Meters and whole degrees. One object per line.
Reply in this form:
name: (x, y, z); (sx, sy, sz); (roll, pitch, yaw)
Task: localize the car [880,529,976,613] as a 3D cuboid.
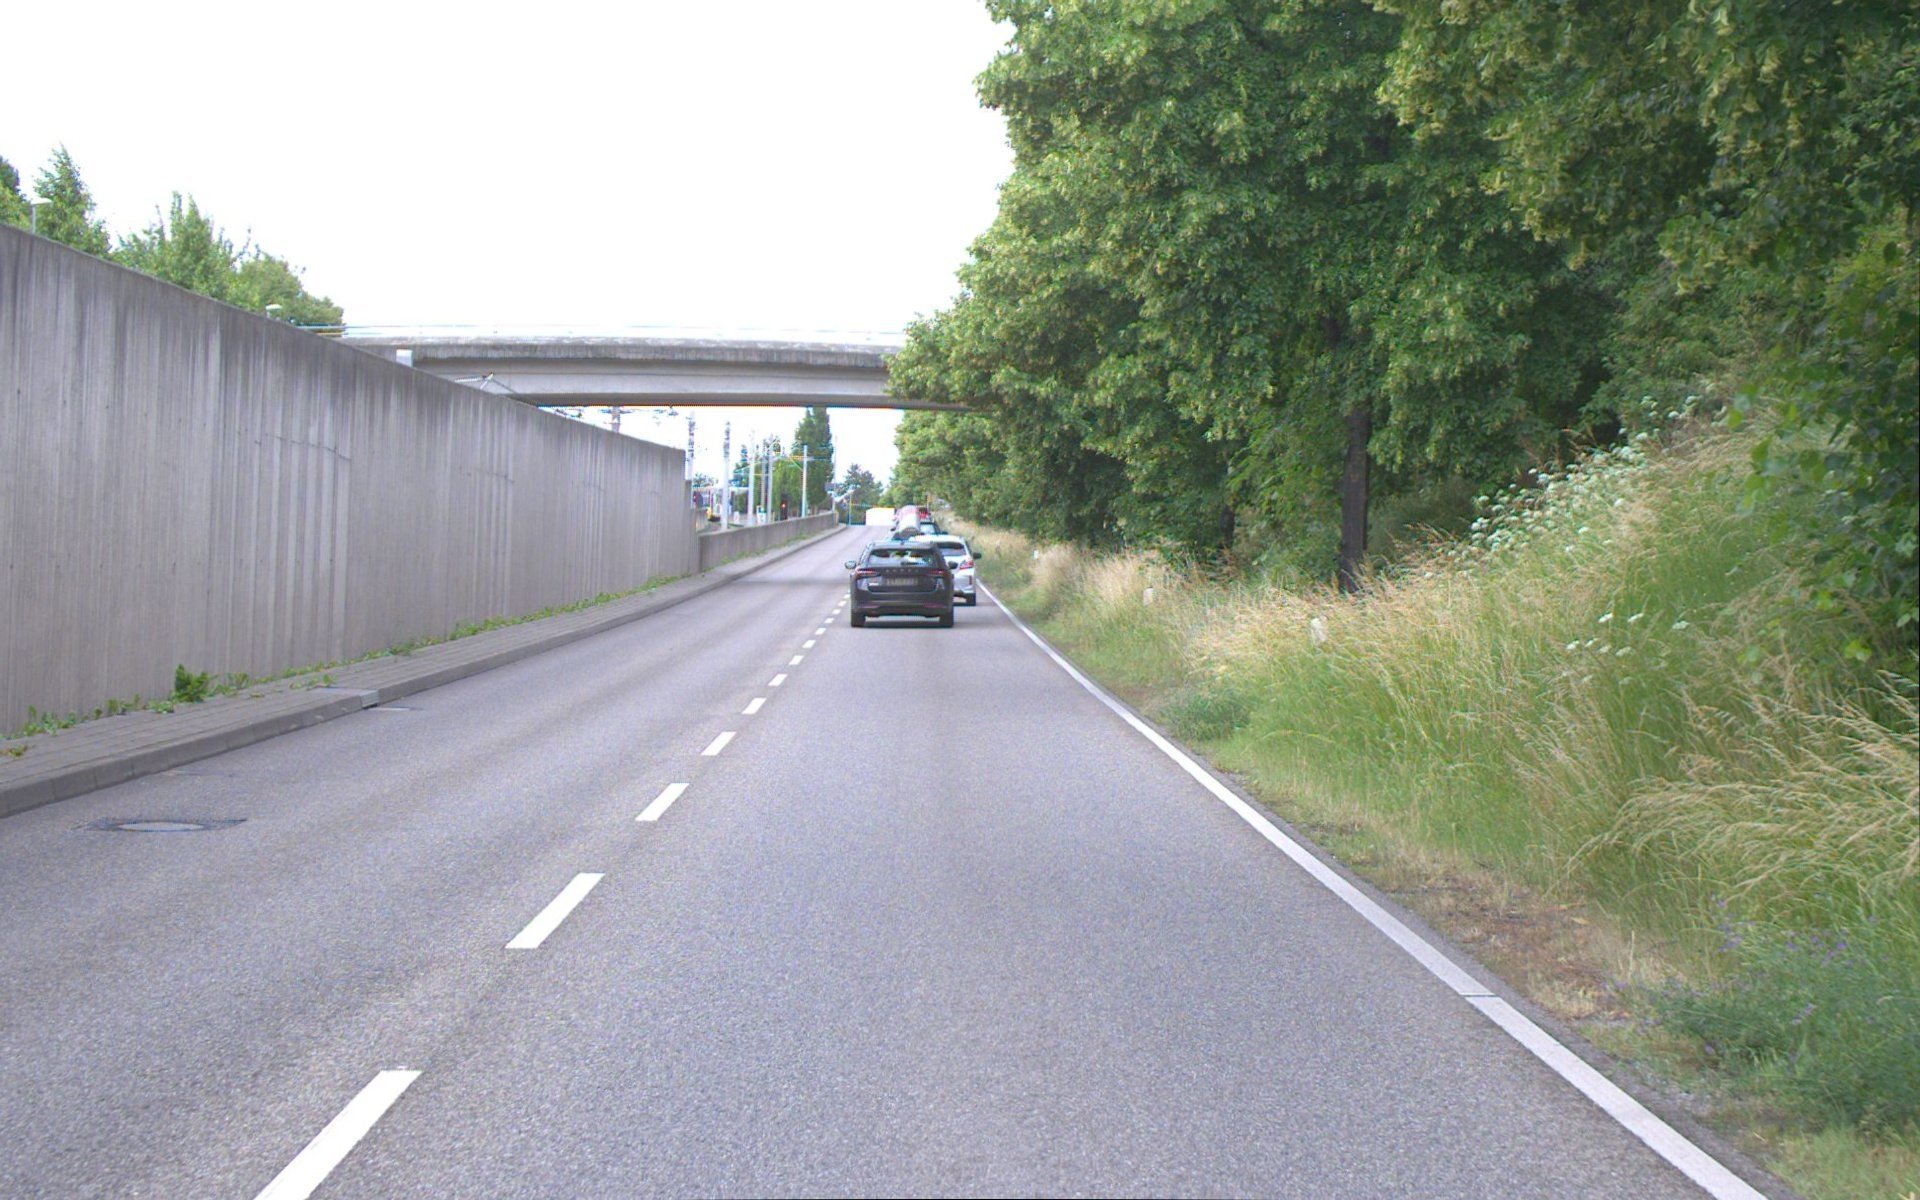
car: (-0.686, -0.645, 73.892); (1.993, 1.747, 4.000); (0, 1, -1)

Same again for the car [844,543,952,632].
car: (-1.057, -0.244, 59.092); (1.781, 1.463, 4.000); (0, 1, -1)

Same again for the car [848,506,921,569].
car: (-2.121, -1.762, 97.705); (1.993, 1.734, 4.000); (1, 1, -1)
